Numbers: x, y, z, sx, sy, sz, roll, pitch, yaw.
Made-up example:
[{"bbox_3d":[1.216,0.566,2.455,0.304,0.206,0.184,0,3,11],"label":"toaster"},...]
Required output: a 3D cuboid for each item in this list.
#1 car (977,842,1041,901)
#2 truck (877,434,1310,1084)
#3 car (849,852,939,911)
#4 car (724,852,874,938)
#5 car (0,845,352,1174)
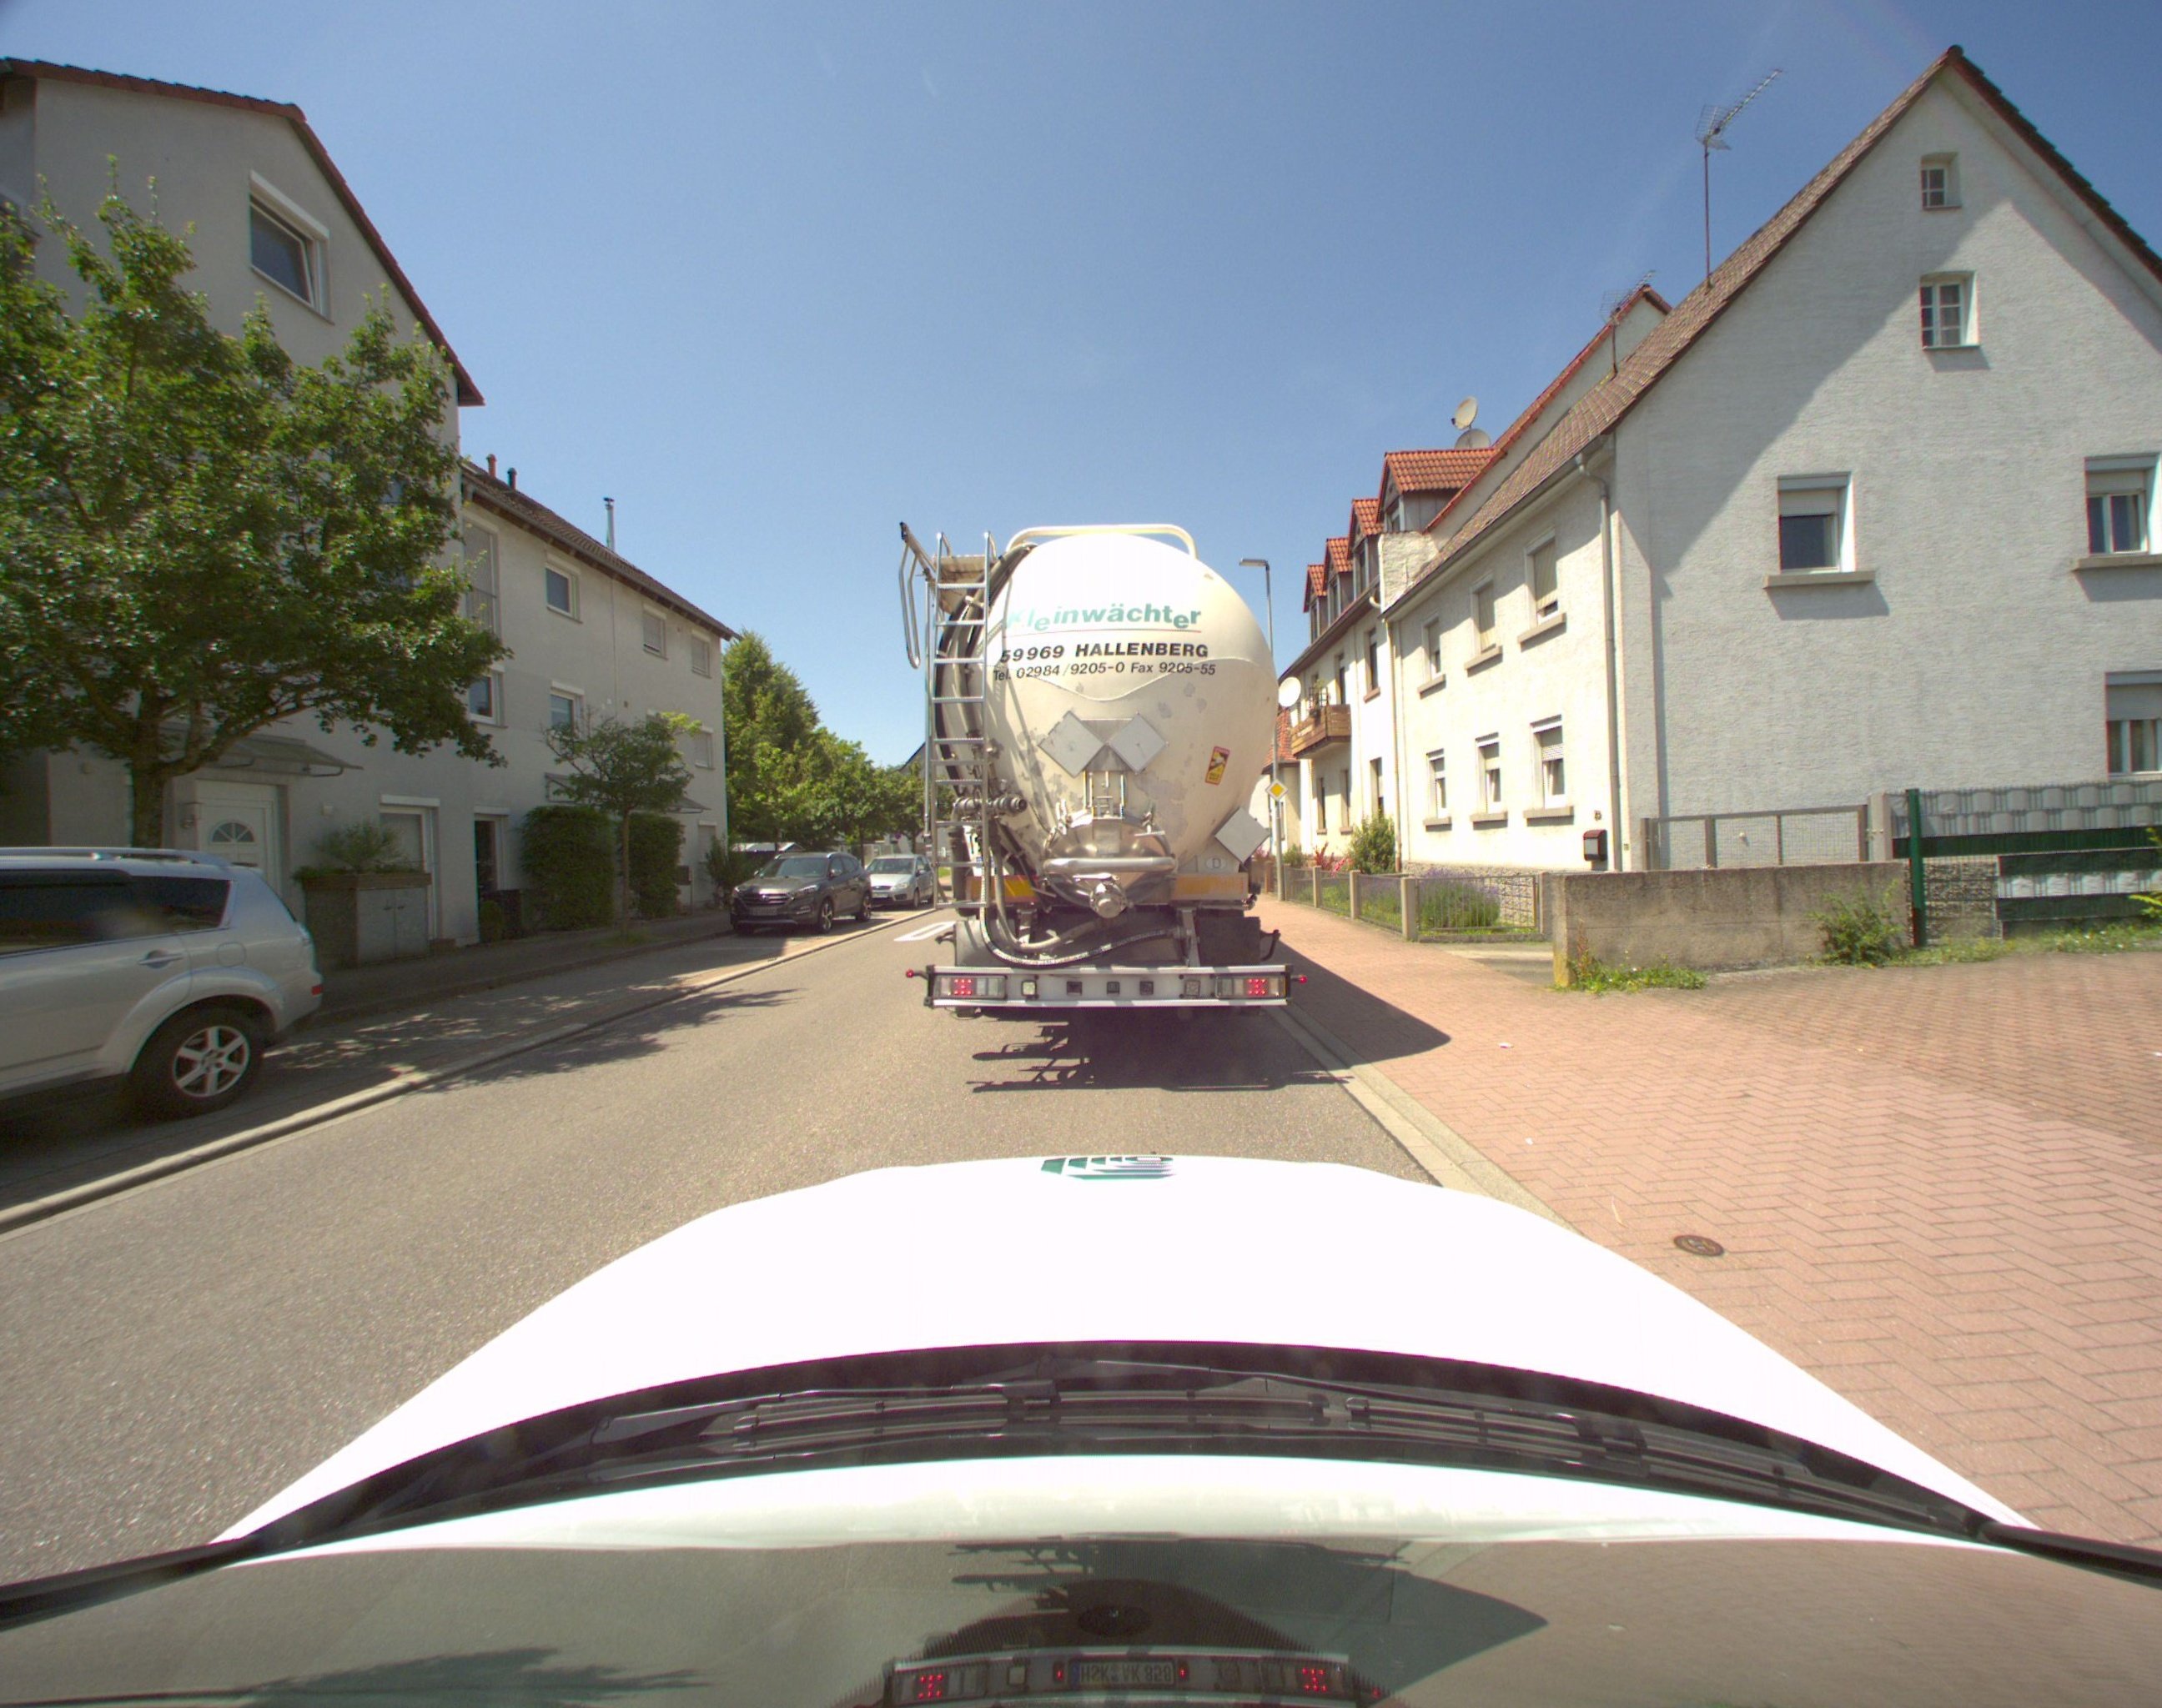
[{"bbox_3d":[-2.498,0.558,29.276,1.649,1.855,4.466,-3,0,2],"label":"car"},{"bbox_3d":[0.247,-0.614,9.882,2.631,4.015,9.566,-1,0,2],"label":"truck"},{"bbox_3d":[-5.490,0.760,24.337,1.691,1.580,3.839,-1,0,1],"label":"car"},{"bbox_3d":[-5.913,0.781,17.613,1.685,1.620,4.000,-1,0,2],"label":"car"},{"bbox_3d":[-6.412,0.815,3.892,1.700,1.686,4.526,-1,0,1],"label":"car"}]
